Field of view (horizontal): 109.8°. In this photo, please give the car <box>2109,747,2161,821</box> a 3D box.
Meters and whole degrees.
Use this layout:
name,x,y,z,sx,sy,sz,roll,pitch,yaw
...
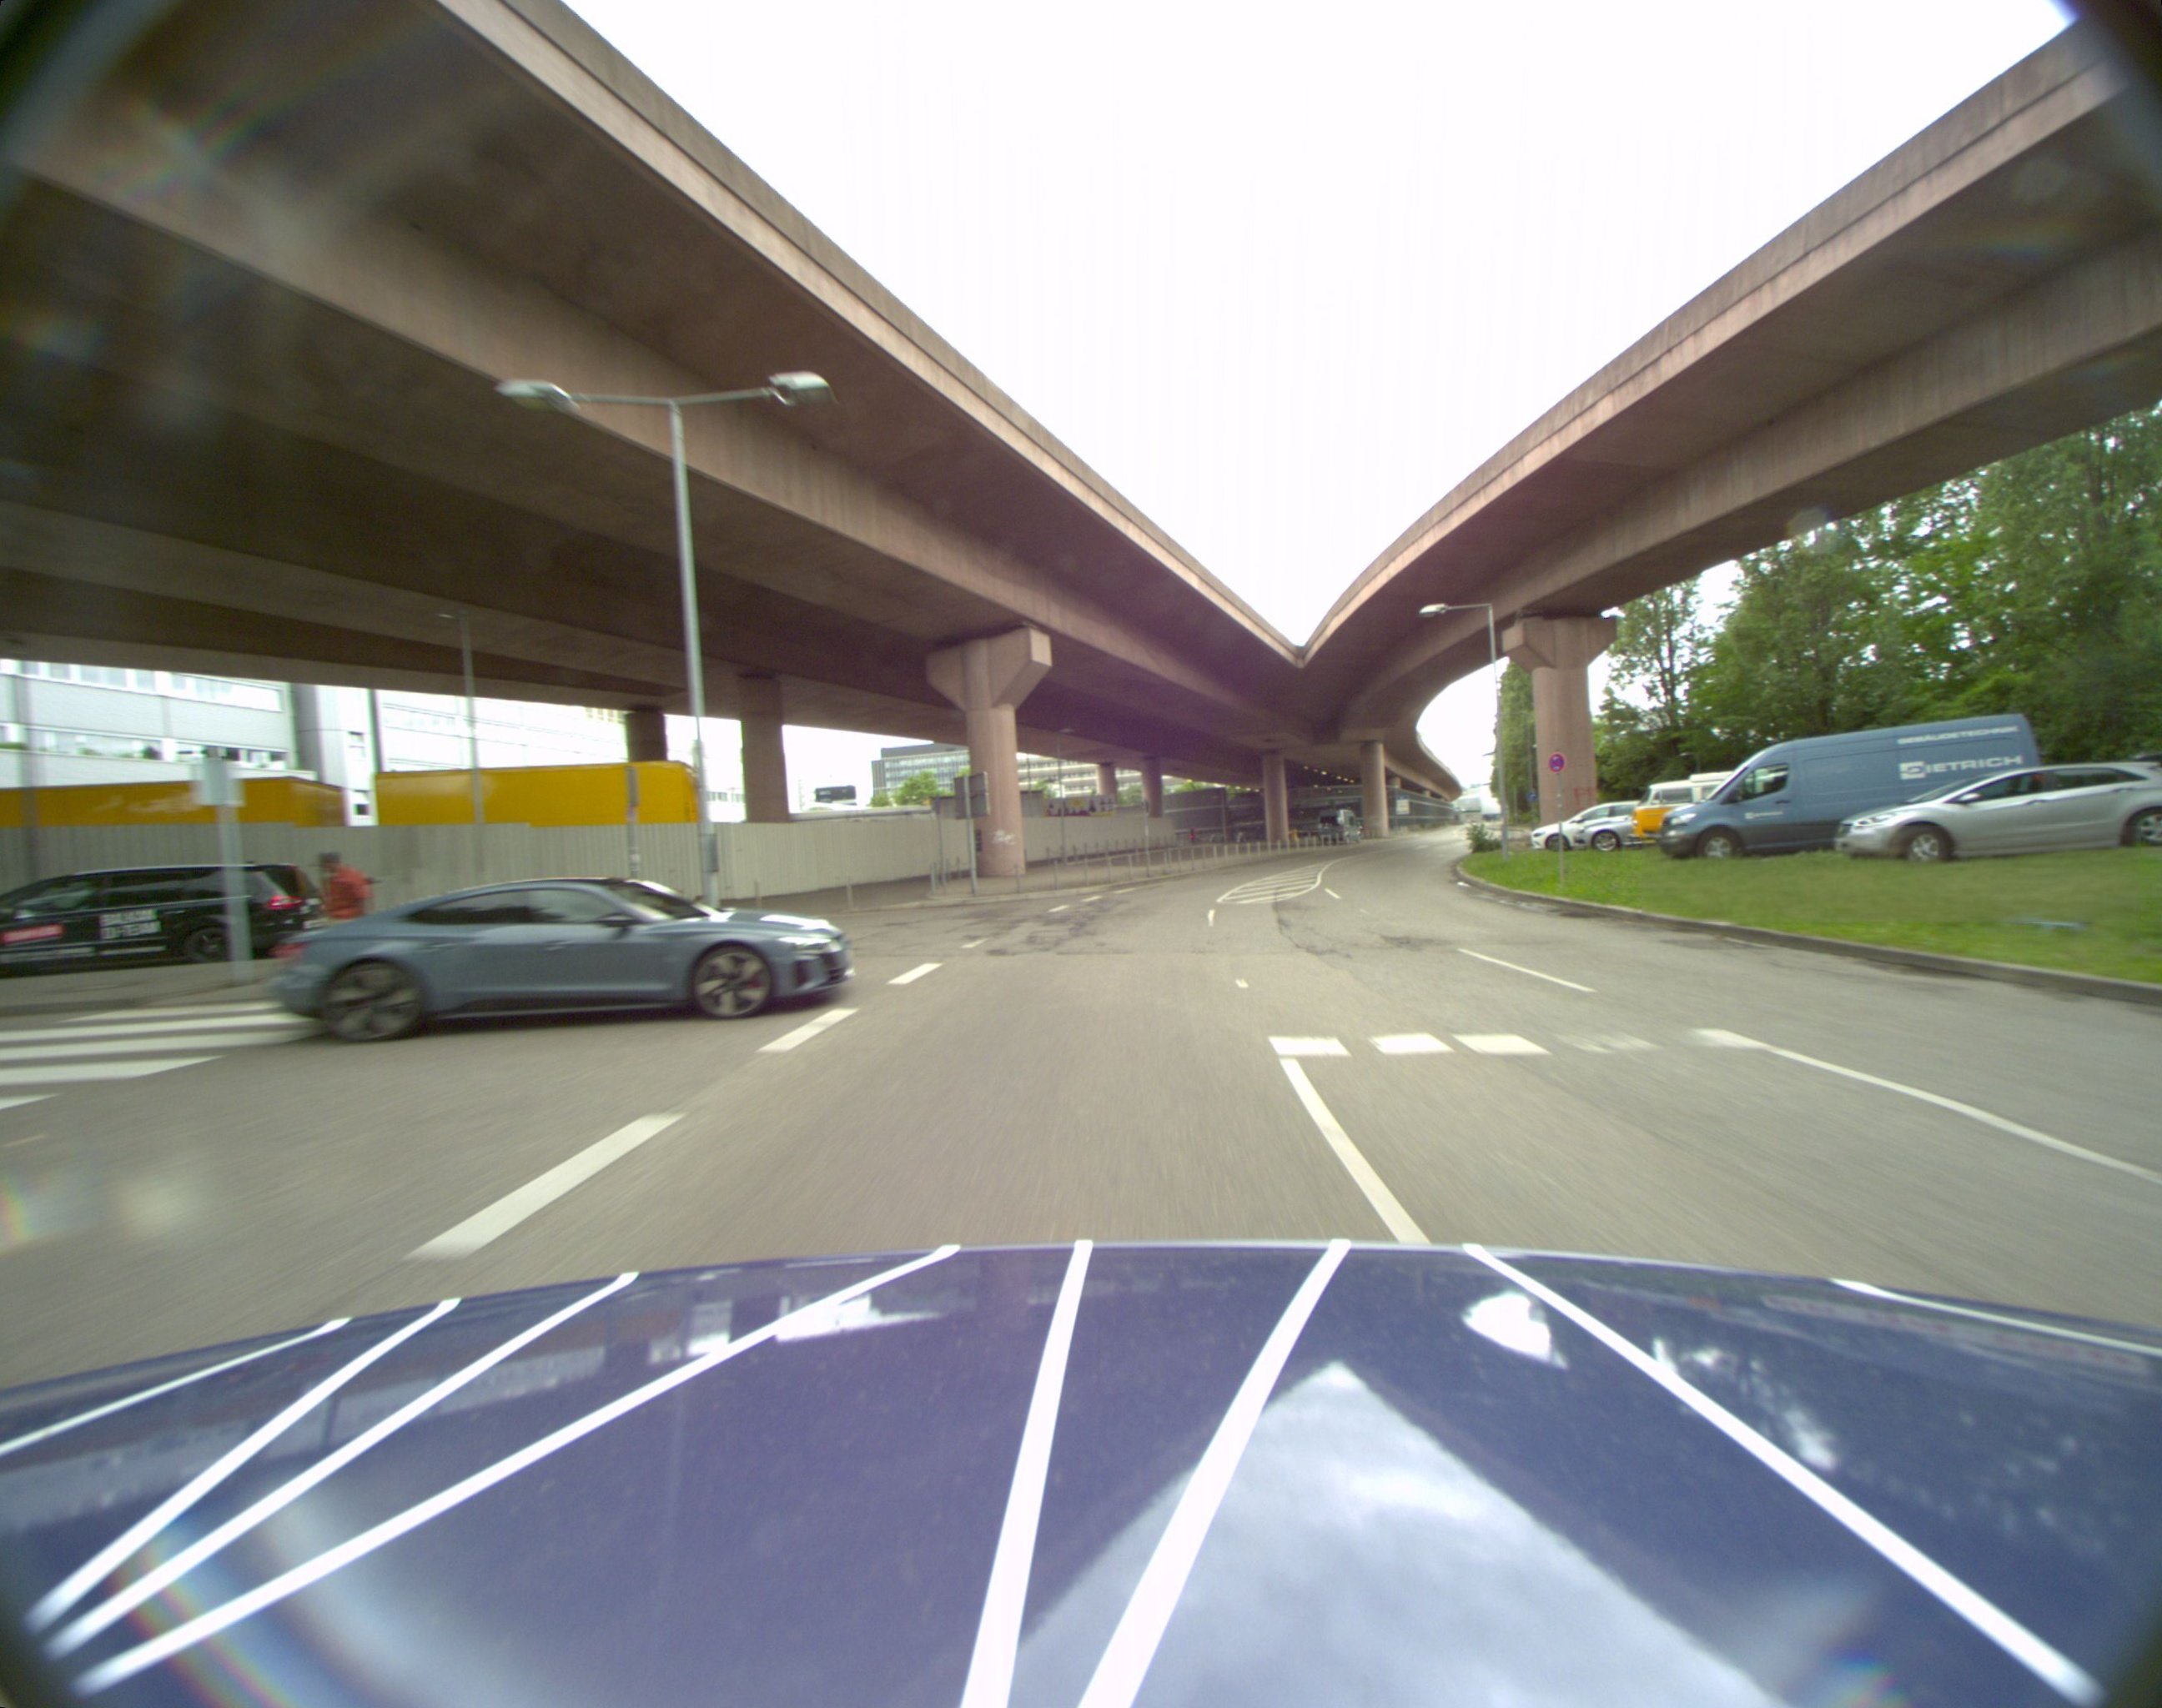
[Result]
name,x,y,z,sx,sy,sz,roll,pitch,yaw
car,26.517,-1.726,18.371,4.161,1.666,1.896,-4,2,-35

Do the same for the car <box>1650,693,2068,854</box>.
name,x,y,z,sx,sy,sz,roll,pitch,yaw
car,16.810,-1.576,17.151,6.179,2.709,2.372,-4,1,36

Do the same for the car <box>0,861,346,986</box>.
name,x,y,z,sx,sy,sz,roll,pitch,yaw
car,-15.845,1.093,12.758,4.566,1.670,1.995,-3,2,-28

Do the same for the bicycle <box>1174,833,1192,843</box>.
name,x,y,z,sx,sy,sz,roll,pitch,yaw
bicycle,11.341,-1.817,84.481,2.057,1.017,0.396,-3,1,34

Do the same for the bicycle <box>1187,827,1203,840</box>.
name,x,y,z,sx,sy,sz,roll,pitch,yaw
bicycle,9.656,-1.737,64.195,0.802,1.091,2.134,-1,2,23

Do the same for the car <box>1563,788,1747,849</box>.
name,x,y,z,sx,sy,sz,roll,pitch,yaw
car,17.426,-1.052,23.215,4.247,1.363,2.003,-5,0,39

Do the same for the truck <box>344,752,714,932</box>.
name,x,y,z,sx,sy,sz,roll,pitch,yaw
truck,-16.955,-0.522,24.336,8.723,4.890,3.142,-4,2,-19

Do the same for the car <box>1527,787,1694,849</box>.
name,x,y,z,sx,sy,sz,roll,pitch,yaw
car,18.068,-1.191,26.029,4.384,1.596,1.958,-5,0,42

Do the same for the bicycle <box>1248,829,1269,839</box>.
name,x,y,z,sx,sy,sz,roll,pitch,yaw
bicycle,18.815,-2.106,80.567,2.015,0.921,0.420,-3,1,20

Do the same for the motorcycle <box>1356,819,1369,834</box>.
name,x,y,z,sx,sy,sz,roll,pitch,yaw
motorcycle,27.097,-2.648,73.213,0.797,1.359,2.131,-2,1,12

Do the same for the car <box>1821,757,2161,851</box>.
name,x,y,z,sx,sy,sz,roll,pitch,yaw
car,16.708,-0.863,13.858,4.281,1.407,2.003,-2,2,33

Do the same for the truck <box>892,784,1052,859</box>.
name,x,y,z,sx,sy,sz,roll,pitch,yaw
truck,-7.074,-2.164,49.619,9.733,4.419,3.142,-3,2,-20

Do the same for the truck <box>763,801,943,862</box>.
name,x,y,z,sx,sy,sz,roll,pitch,yaw
truck,-11.997,-1.300,40.390,8.723,2.928,3.141,-2,4,-18

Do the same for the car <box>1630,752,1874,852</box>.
name,x,y,z,sx,sy,sz,roll,pitch,yaw
car,17.322,-1.276,19.974,4.559,2.099,1.854,-4,1,37

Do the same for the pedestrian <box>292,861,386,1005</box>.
name,x,y,z,sx,sy,sz,roll,pitch,yaw
pedestrian,-9.004,0.937,9.231,0.537,1.666,0.559,-1,2,17

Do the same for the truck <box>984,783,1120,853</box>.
name,x,y,z,sx,sy,sz,roll,pitch,yaw
truck,-2.212,-2.797,58.695,9.733,4.897,3.142,-3,2,-20

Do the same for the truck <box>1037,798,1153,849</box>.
name,x,y,z,sx,sy,sz,roll,pitch,yaw
truck,1.362,-2.852,71.249,10.305,4.280,3.007,-3,2,-19

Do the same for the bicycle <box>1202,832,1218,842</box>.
name,x,y,z,sx,sy,sz,roll,pitch,yaw
bicycle,15.534,-2.080,91.665,1.784,1.073,0.437,-3,1,18

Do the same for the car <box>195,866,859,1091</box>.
name,x,y,z,sx,sy,sz,roll,pitch,yaw
car,-4.934,1.035,7.748,4.933,1.493,2.170,-3,2,-13

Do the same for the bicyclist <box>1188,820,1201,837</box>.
name,x,y,z,sx,sy,sz,roll,pitch,yaw
bicyclist,9.597,-2.175,64.086,0.796,1.398,1.068,-1,3,23

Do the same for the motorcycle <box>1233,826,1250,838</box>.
name,x,y,z,sx,sy,sz,roll,pitch,yaw
motorcycle,16.271,-2.220,76.994,0.782,1.228,2.541,-1,0,32

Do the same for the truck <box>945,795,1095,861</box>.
name,x,y,z,sx,sy,sz,roll,pitch,yaw
truck,-4.283,-1.914,54.011,10.073,4.160,2.893,-3,2,-19

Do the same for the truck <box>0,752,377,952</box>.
name,x,y,z,sx,sy,sz,roll,pitch,yaw
truck,-26.162,-0.091,21.182,8.723,4.876,3.142,-4,2,-19

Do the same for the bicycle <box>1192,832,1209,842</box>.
name,x,y,z,sx,sy,sz,roll,pitch,yaw
bicycle,13.084,-1.857,83.311,1.731,0.976,0.437,-3,1,27

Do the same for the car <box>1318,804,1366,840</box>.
name,x,y,z,sx,sy,sz,roll,pitch,yaw
car,20.226,-2.486,58.755,1.994,2.598,6.084,-1,2,33

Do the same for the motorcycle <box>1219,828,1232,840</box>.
name,x,y,z,sx,sy,sz,roll,pitch,yaw
motorcycle,14.821,-1.997,77.827,0.543,1.099,2.334,-2,-2,29
